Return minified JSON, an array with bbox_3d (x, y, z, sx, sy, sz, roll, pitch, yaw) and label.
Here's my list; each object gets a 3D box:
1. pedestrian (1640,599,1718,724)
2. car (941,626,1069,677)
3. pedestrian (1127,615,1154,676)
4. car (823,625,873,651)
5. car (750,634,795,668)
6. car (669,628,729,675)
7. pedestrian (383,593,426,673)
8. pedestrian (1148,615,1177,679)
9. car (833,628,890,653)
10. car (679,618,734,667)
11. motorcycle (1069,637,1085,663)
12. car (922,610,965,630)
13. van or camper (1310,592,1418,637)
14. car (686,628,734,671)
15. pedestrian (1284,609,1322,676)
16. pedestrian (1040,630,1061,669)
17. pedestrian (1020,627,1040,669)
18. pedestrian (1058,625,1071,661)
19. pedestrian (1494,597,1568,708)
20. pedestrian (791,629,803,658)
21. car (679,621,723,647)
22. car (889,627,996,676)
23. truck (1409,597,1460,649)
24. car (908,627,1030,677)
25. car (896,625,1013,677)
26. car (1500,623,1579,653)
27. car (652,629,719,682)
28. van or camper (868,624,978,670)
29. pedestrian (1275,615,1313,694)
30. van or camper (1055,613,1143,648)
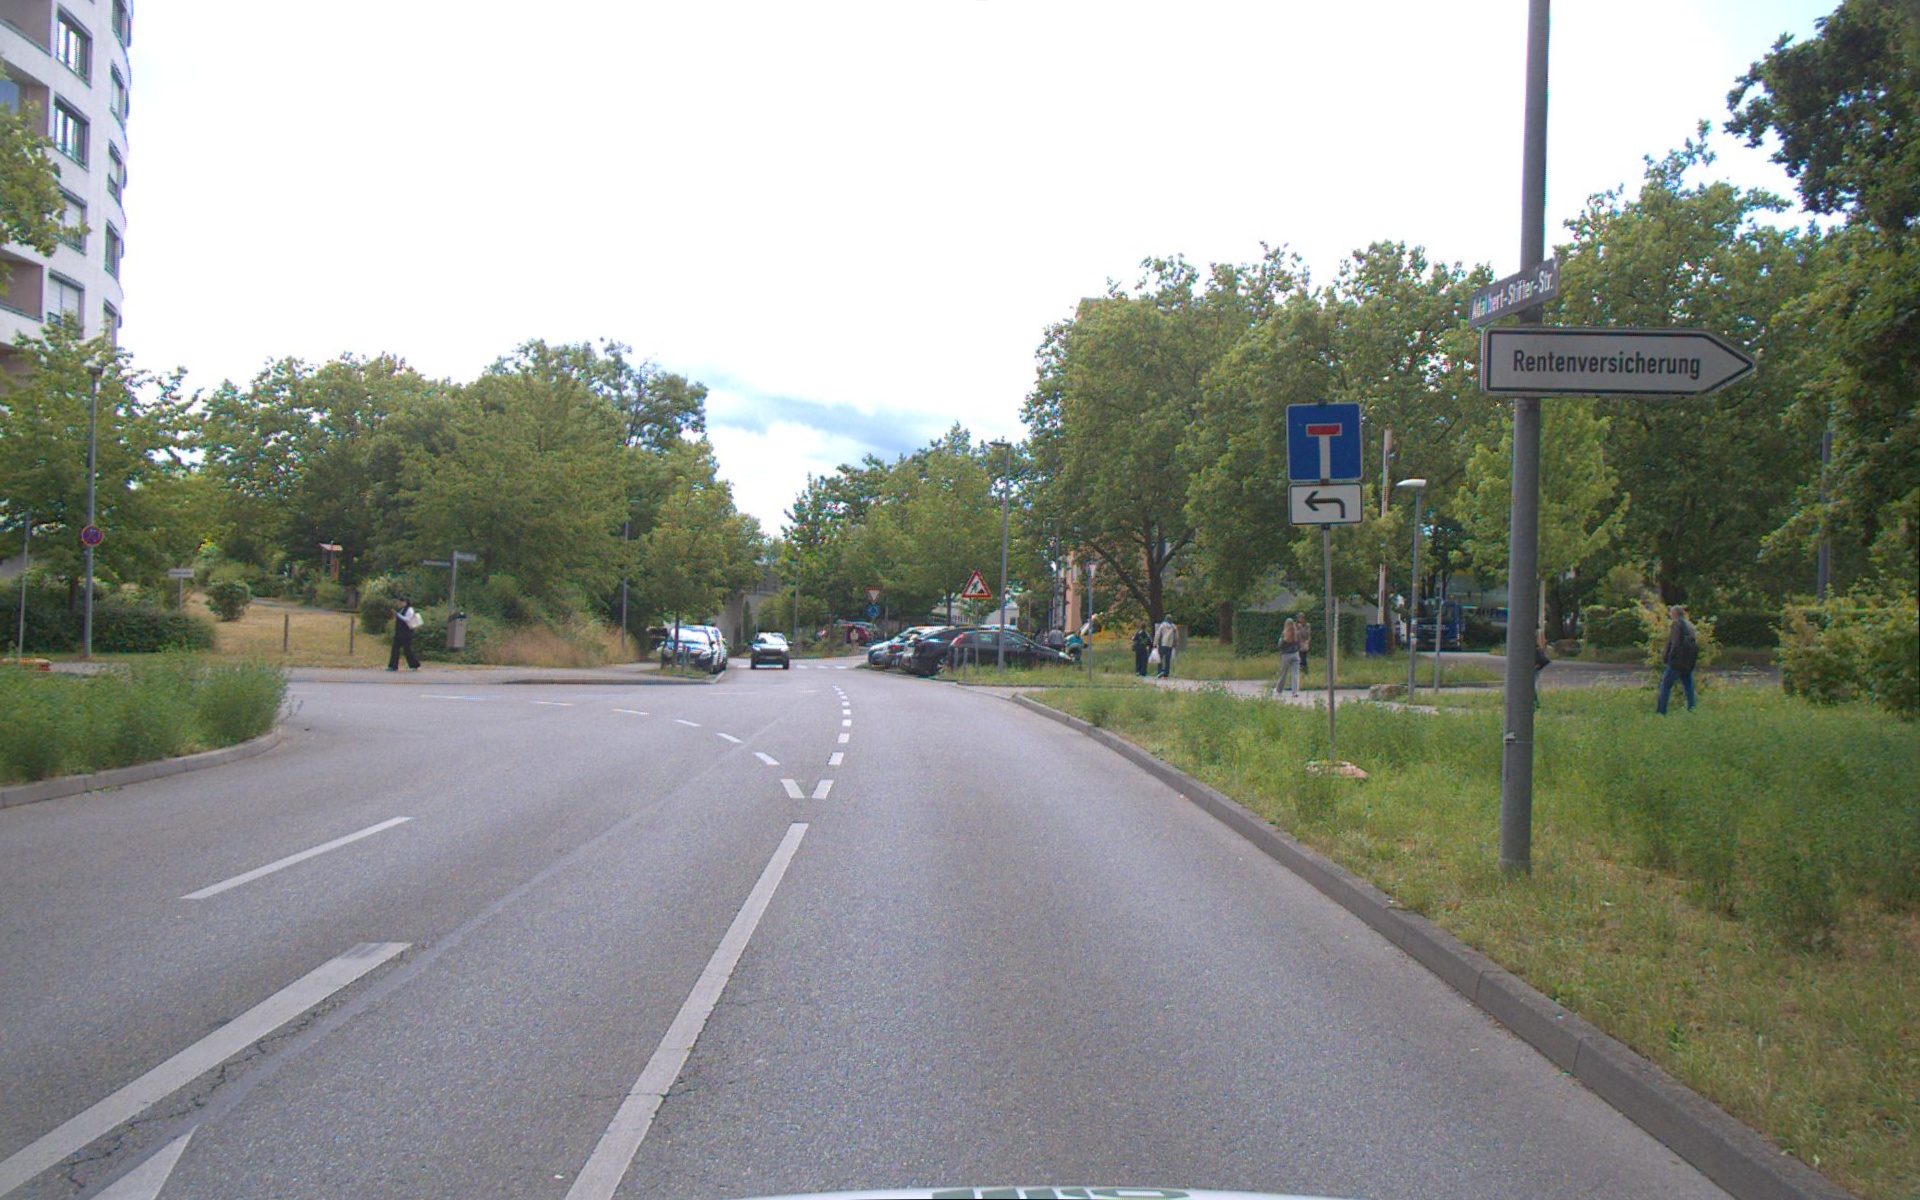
[{"bbox_3d":[10.510,0.887,24.186,0.758,1.752,0.823,1,1,3],"label":"pedestrian"},{"bbox_3d":[1.341,1.595,50.793,3.842,1.494,1.770,1,-3,-2],"label":"car"},{"bbox_3d":[5.385,1.348,49.339,0.758,1.752,0.824,2,1,7],"label":"pedestrian"},{"bbox_3d":[-8.033,2.724,118.532,3.475,1.683,1.618,2,-1,-9],"label":"car"},{"bbox_3d":[-8.756,2.369,77.324,1.936,1.489,3.931,1,-1,-5],"label":"car"},{"bbox_3d":[-9.026,1.749,57.356,1.731,1.527,3.931,1,-1,-5],"label":"car"},{"bbox_3d":[-12.404,0.730,36.926,0.809,1.752,0.771,1,1,-23],"label":"pedestrian"},{"bbox_3d":[5.816,1.338,47.485,0.784,1.752,0.824,2,1,6],"label":"pedestrian"},{"bbox_3d":[-6.654,2.740,111.948,3.489,1.591,1.611,2,-1,-22],"label":"car"},{"bbox_3d":[-9.630,1.588,63.078,1.731,1.783,3.931,1,-1,-5],"label":"car"},{"bbox_3d":[3.915,1.669,55.478,0.443,0.808,1.264,1,1,7],"label":"motorcycle"},{"bbox_3d":[-1.509,1.821,148.466,3.489,1.683,1.611,2,-1,-22],"label":"car"},{"bbox_3d":[18.756,0.651,76.816,4.583,1.947,1.769,2,1,28],"label":"van or camper"},{"bbox_3d":[-10.407,2.041,69.032,1.704,1.741,4.078,1,-1,-5],"label":"car"},{"bbox_3d":[9.093,1.123,43.874,0.759,1.724,0.822,2,1,26],"label":"pedestrian"},{"bbox_3d":[3.430,1.875,62.575,0.676,1.449,0.753,2,-1,-2],"label":"pedestrian"},{"bbox_3d":[2.652,1.810,62.532,0.676,1.530,0.753,2,-1,-2],"label":"pedestrian"},{"bbox_3d":[3.522,1.455,55.813,0.387,1.172,0.485,2,1,7],"label":"pedestrian"},{"bbox_3d":[9.339,0.851,27.077,0.762,1.752,0.819,1,1,-19],"label":"pedestrian"},{"bbox_3d":[-10.648,2.836,107.821,0.708,1.897,0.649,1,1,-13],"label":"pedestrian"},{"bbox_3d":[-14.211,1.870,90.699,1.193,1.360,2.566,3,-1,-42],"label":"car"},{"bbox_3d":[-0.659,1.896,60.766,3.842,1.658,1.771,1,1,-2],"label":"car"},{"bbox_3d":[23.545,1.095,81.934,2.277,2.335,5.898,2,1,17],"label":"truck"},{"bbox_3d":[0.264,1.676,52.997,3.842,1.527,1.770,1,-3,-2],"label":"car"},{"bbox_3d":[-0.195,1.739,55.710,3.842,1.659,1.770,1,-3,-2],"label":"car"},{"bbox_3d":[32.612,2.140,93.109,3.842,1.526,1.771,1,1,-2],"label":"car"},{"bbox_3d":[-8.606,1.722,52.185,1.731,1.526,3.931,1,0,-5],"label":"car"},{"bbox_3d":[-1.629,2.034,72.306,4.586,1.902,1.768,1,1,-10],"label":"van or camper"},{"bbox_3d":[7.098,1.156,35.176,0.758,1.624,0.824,1,1,12],"label":"pedestrian"},{"bbox_3d":[8.713,1.886,103.643,5.190,2.077,2.058,1,1,-6],"label":"van or camper"}]
